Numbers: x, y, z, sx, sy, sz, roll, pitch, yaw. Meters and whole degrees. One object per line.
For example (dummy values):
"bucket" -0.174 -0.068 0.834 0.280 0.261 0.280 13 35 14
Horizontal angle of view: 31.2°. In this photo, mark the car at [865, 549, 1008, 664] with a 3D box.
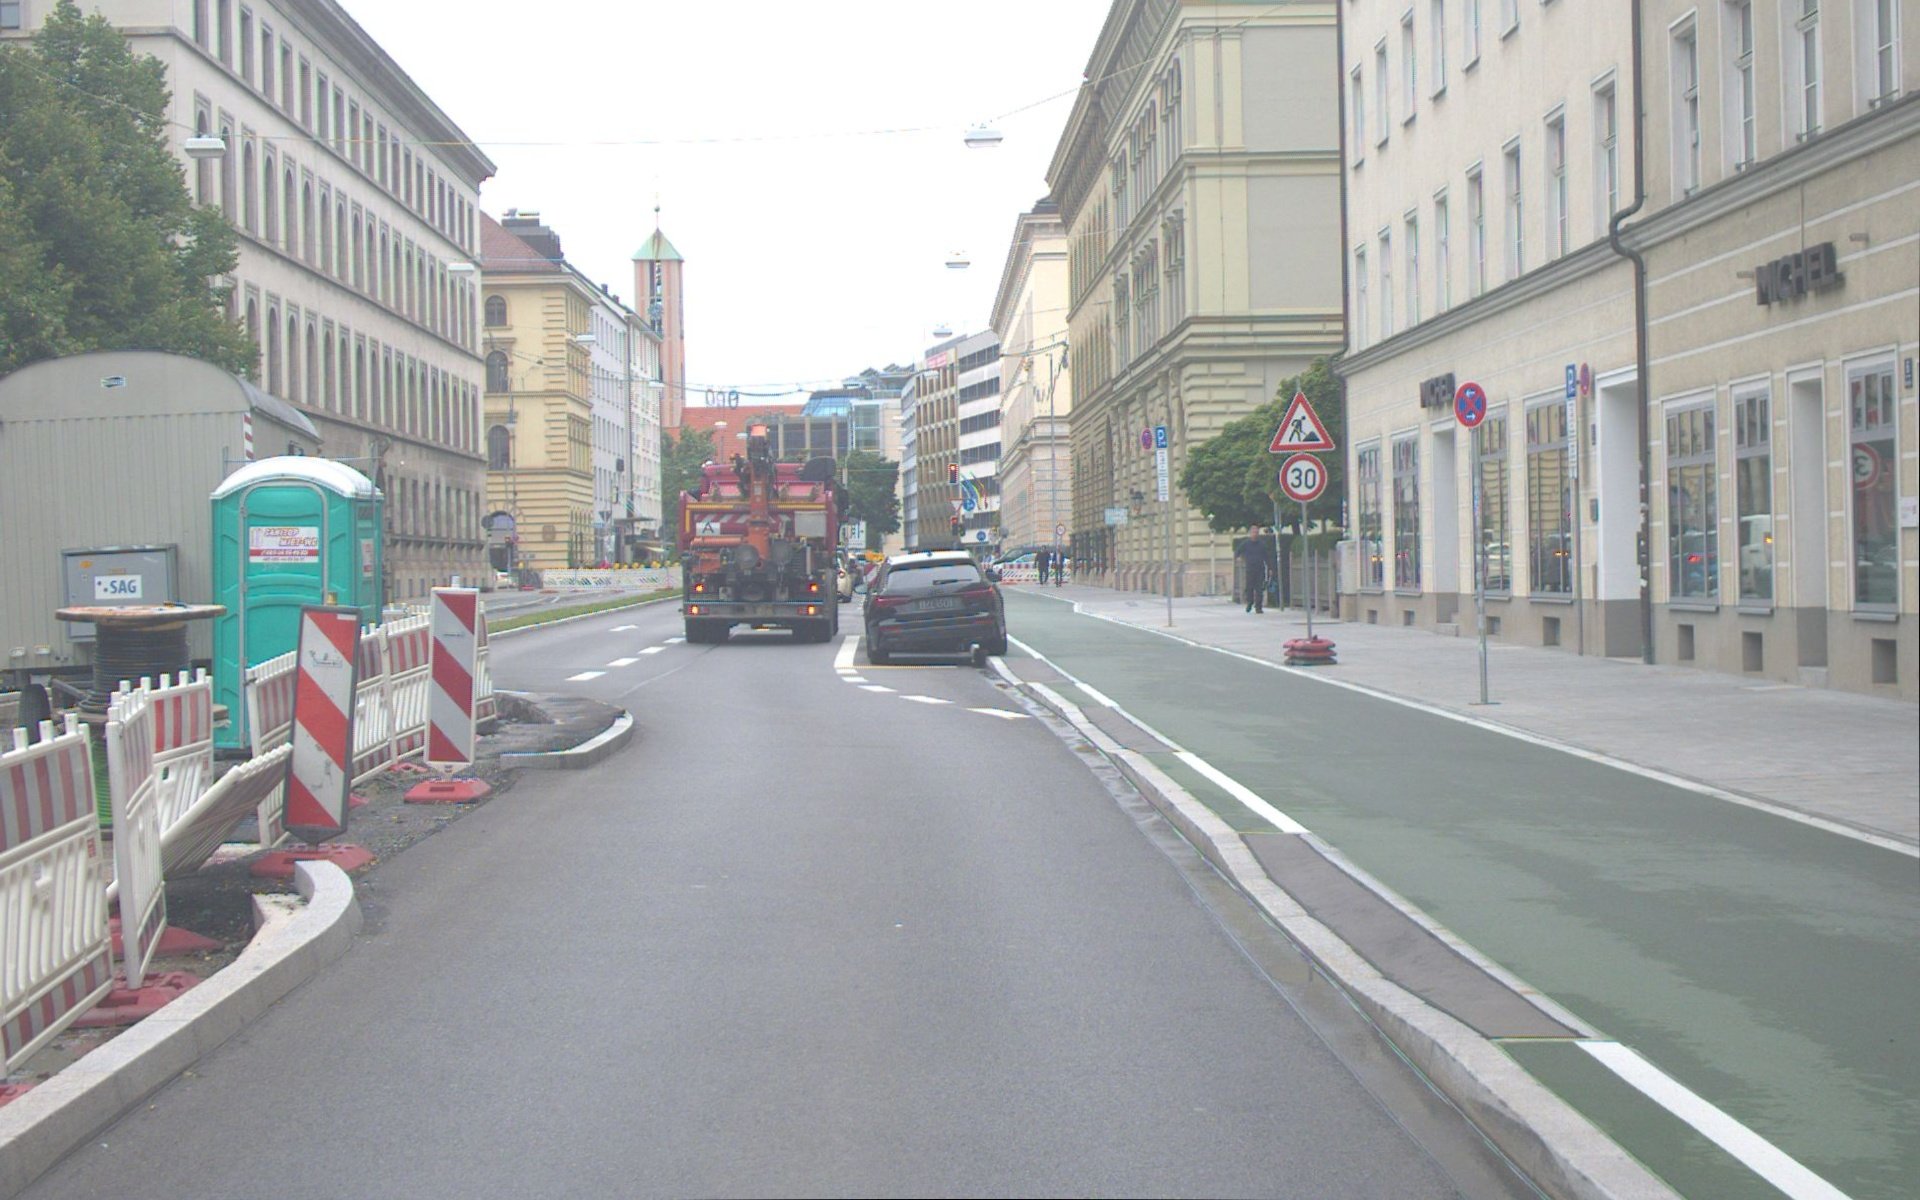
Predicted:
"car" -0.372 0.055 47.728 1.801 1.475 4.687 -1 1 -2

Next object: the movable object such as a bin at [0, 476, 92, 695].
"movable object such as a bin" -12.147 -0.201 42.000 1.924 2.563 4.492 0 1 0

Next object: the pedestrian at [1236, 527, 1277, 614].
"pedestrian" 6.293 -0.636 72.992 0.790 1.830 0.777 -1 1 0

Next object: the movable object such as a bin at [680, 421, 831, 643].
"movable object such as a bin" -3.432 -1.139 58.789 2.423 3.599 5.852 0 1 -2

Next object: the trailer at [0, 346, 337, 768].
"trailer" -6.962 -0.379 30.400 2.226 3.232 7.521 -1 1 -6
